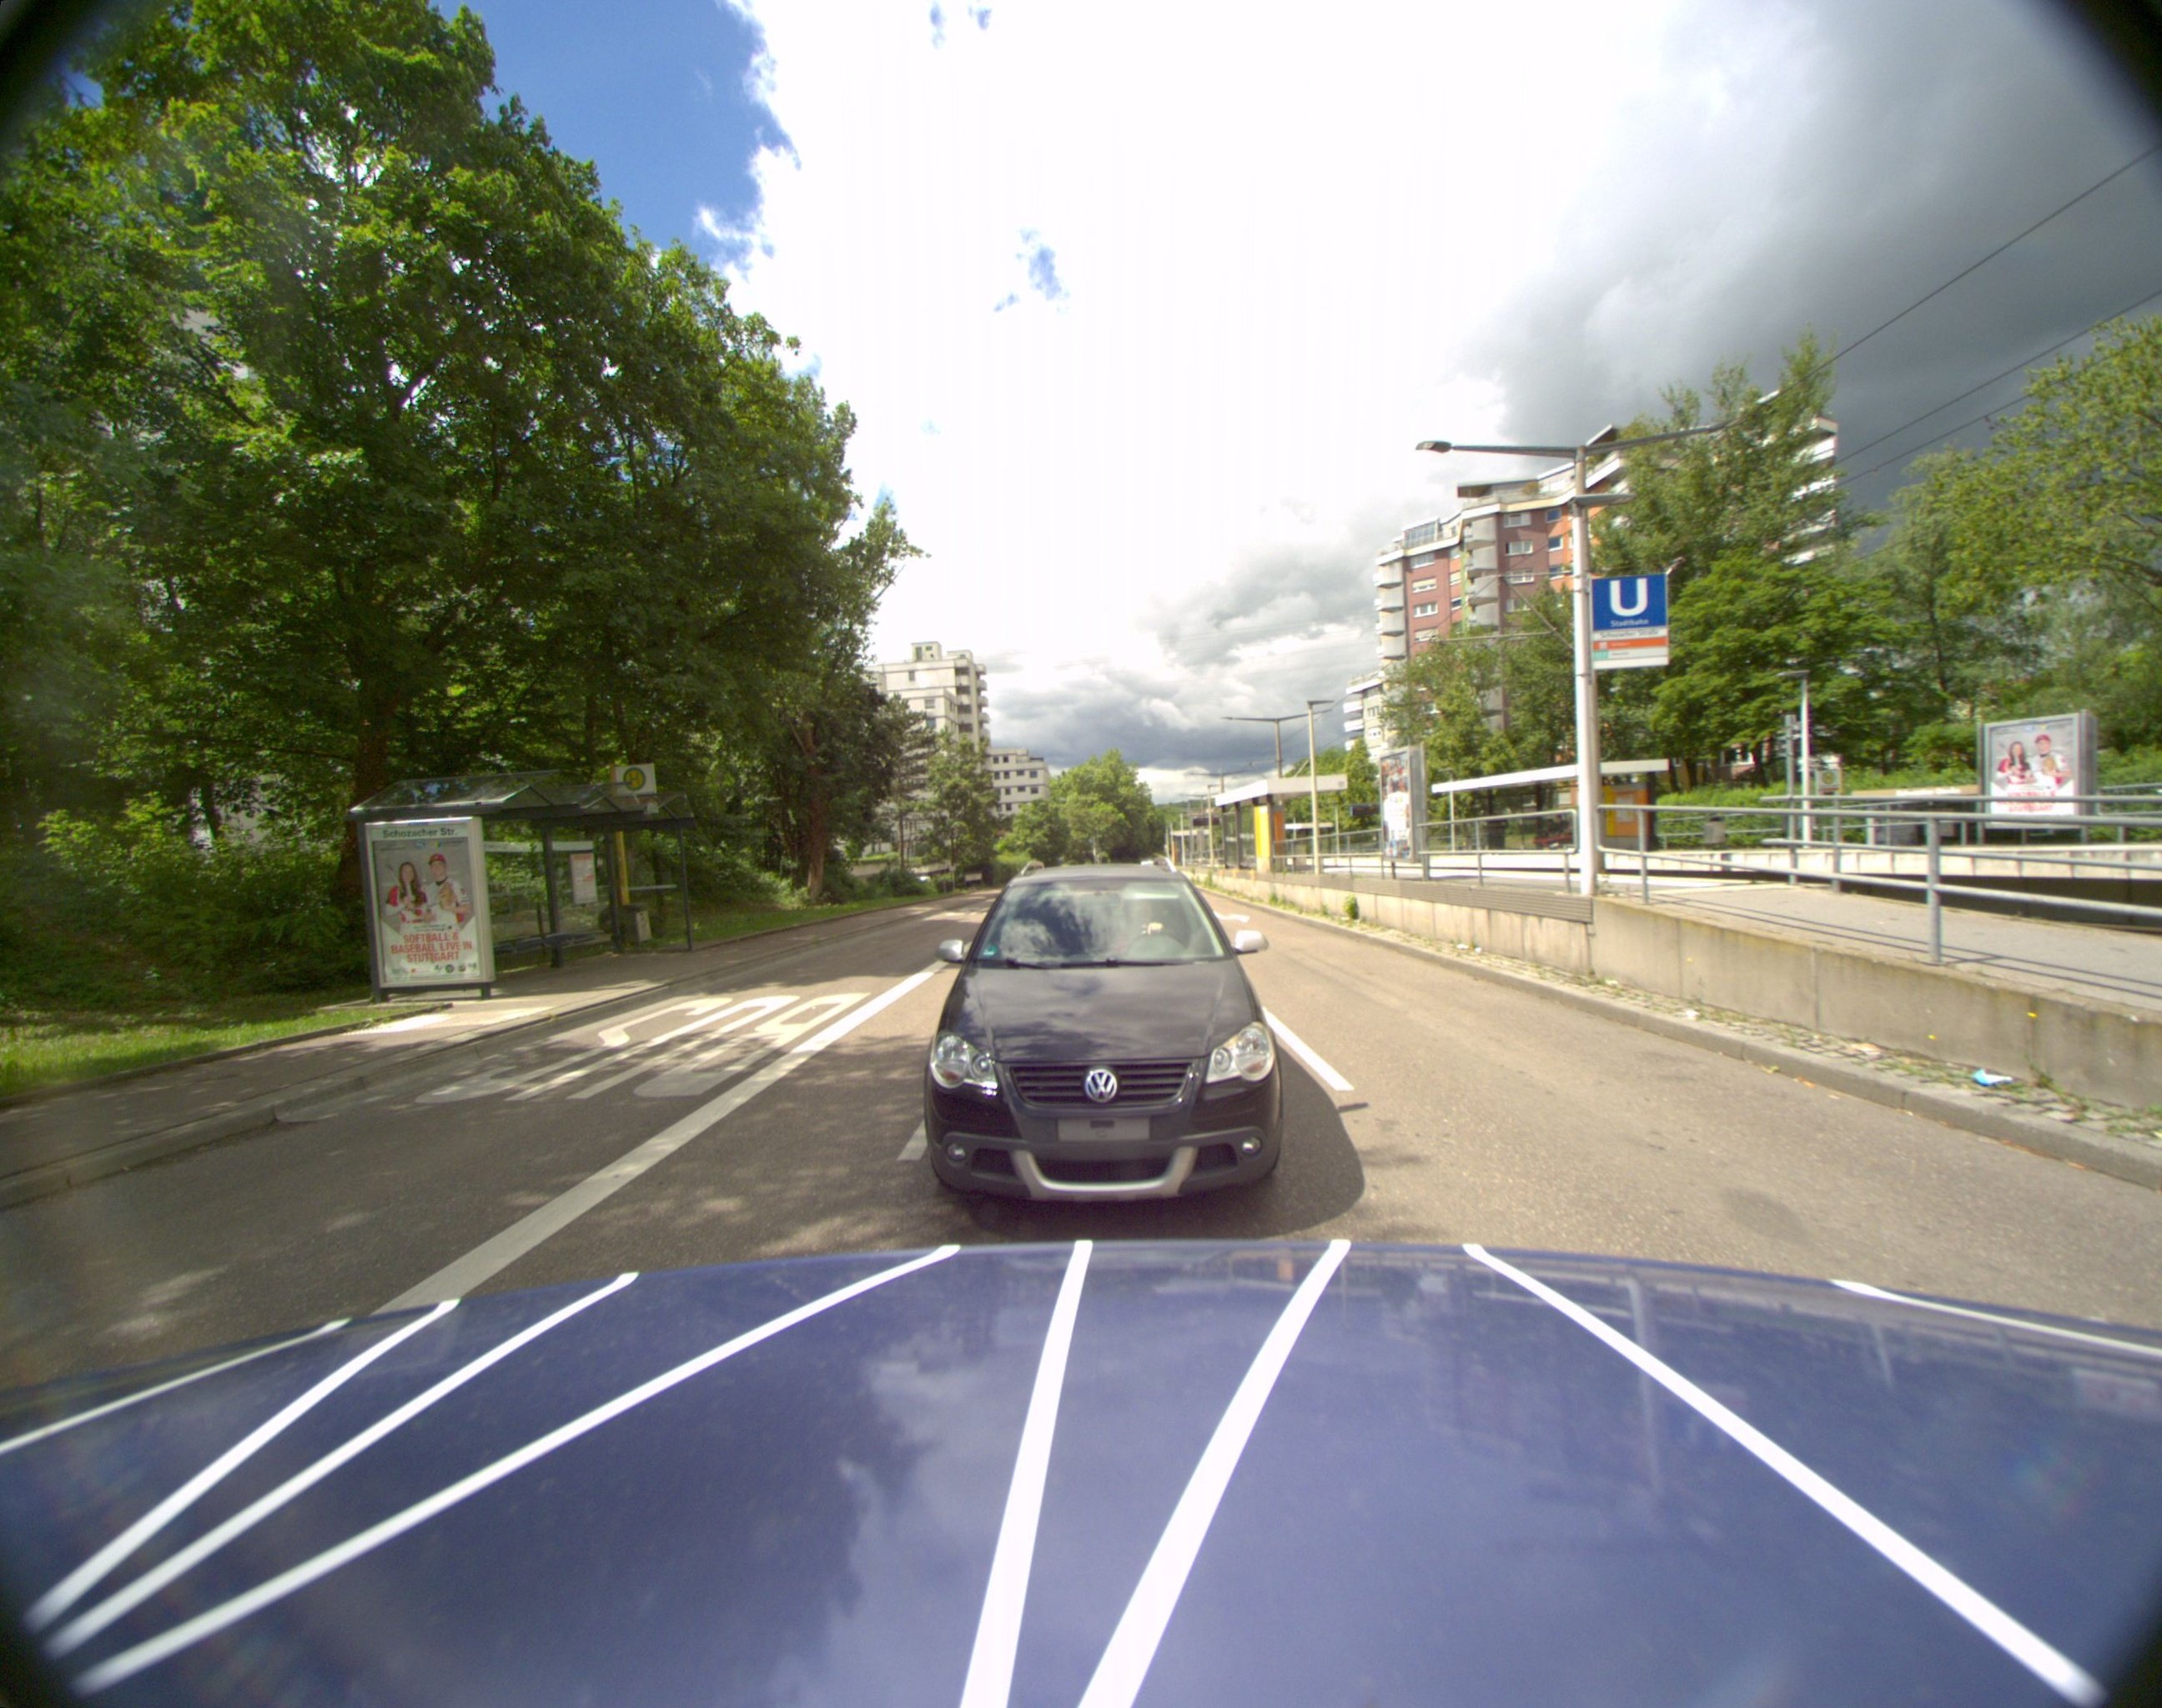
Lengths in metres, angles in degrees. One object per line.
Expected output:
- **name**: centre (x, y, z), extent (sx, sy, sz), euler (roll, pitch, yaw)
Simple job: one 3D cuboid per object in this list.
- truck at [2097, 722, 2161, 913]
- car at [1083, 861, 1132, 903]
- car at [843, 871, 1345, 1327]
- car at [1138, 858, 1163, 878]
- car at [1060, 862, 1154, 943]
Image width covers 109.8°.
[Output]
- **truck**: centre (19.280, -0.688, 9.877), extent (2.420, 3.203, 7.263), euler (-2, 0, 1)
- **car**: centre (1.094, 1.047, 29.935), extent (1.732, 1.452, 4.001), euler (-2, 0, 3)
- **car**: centre (0.082, 0.924, 4.716), extent (1.732, 1.501, 4.000), euler (-2, 0, 1)
- **car**: centre (5.635, 1.126, 62.090), extent (1.732, 1.453, 4.000), euler (-2, 0, 1)
- **car**: centre (0.534, 0.946, 16.485), extent (1.732, 1.453, 4.000), euler (-2, 0, 1)
